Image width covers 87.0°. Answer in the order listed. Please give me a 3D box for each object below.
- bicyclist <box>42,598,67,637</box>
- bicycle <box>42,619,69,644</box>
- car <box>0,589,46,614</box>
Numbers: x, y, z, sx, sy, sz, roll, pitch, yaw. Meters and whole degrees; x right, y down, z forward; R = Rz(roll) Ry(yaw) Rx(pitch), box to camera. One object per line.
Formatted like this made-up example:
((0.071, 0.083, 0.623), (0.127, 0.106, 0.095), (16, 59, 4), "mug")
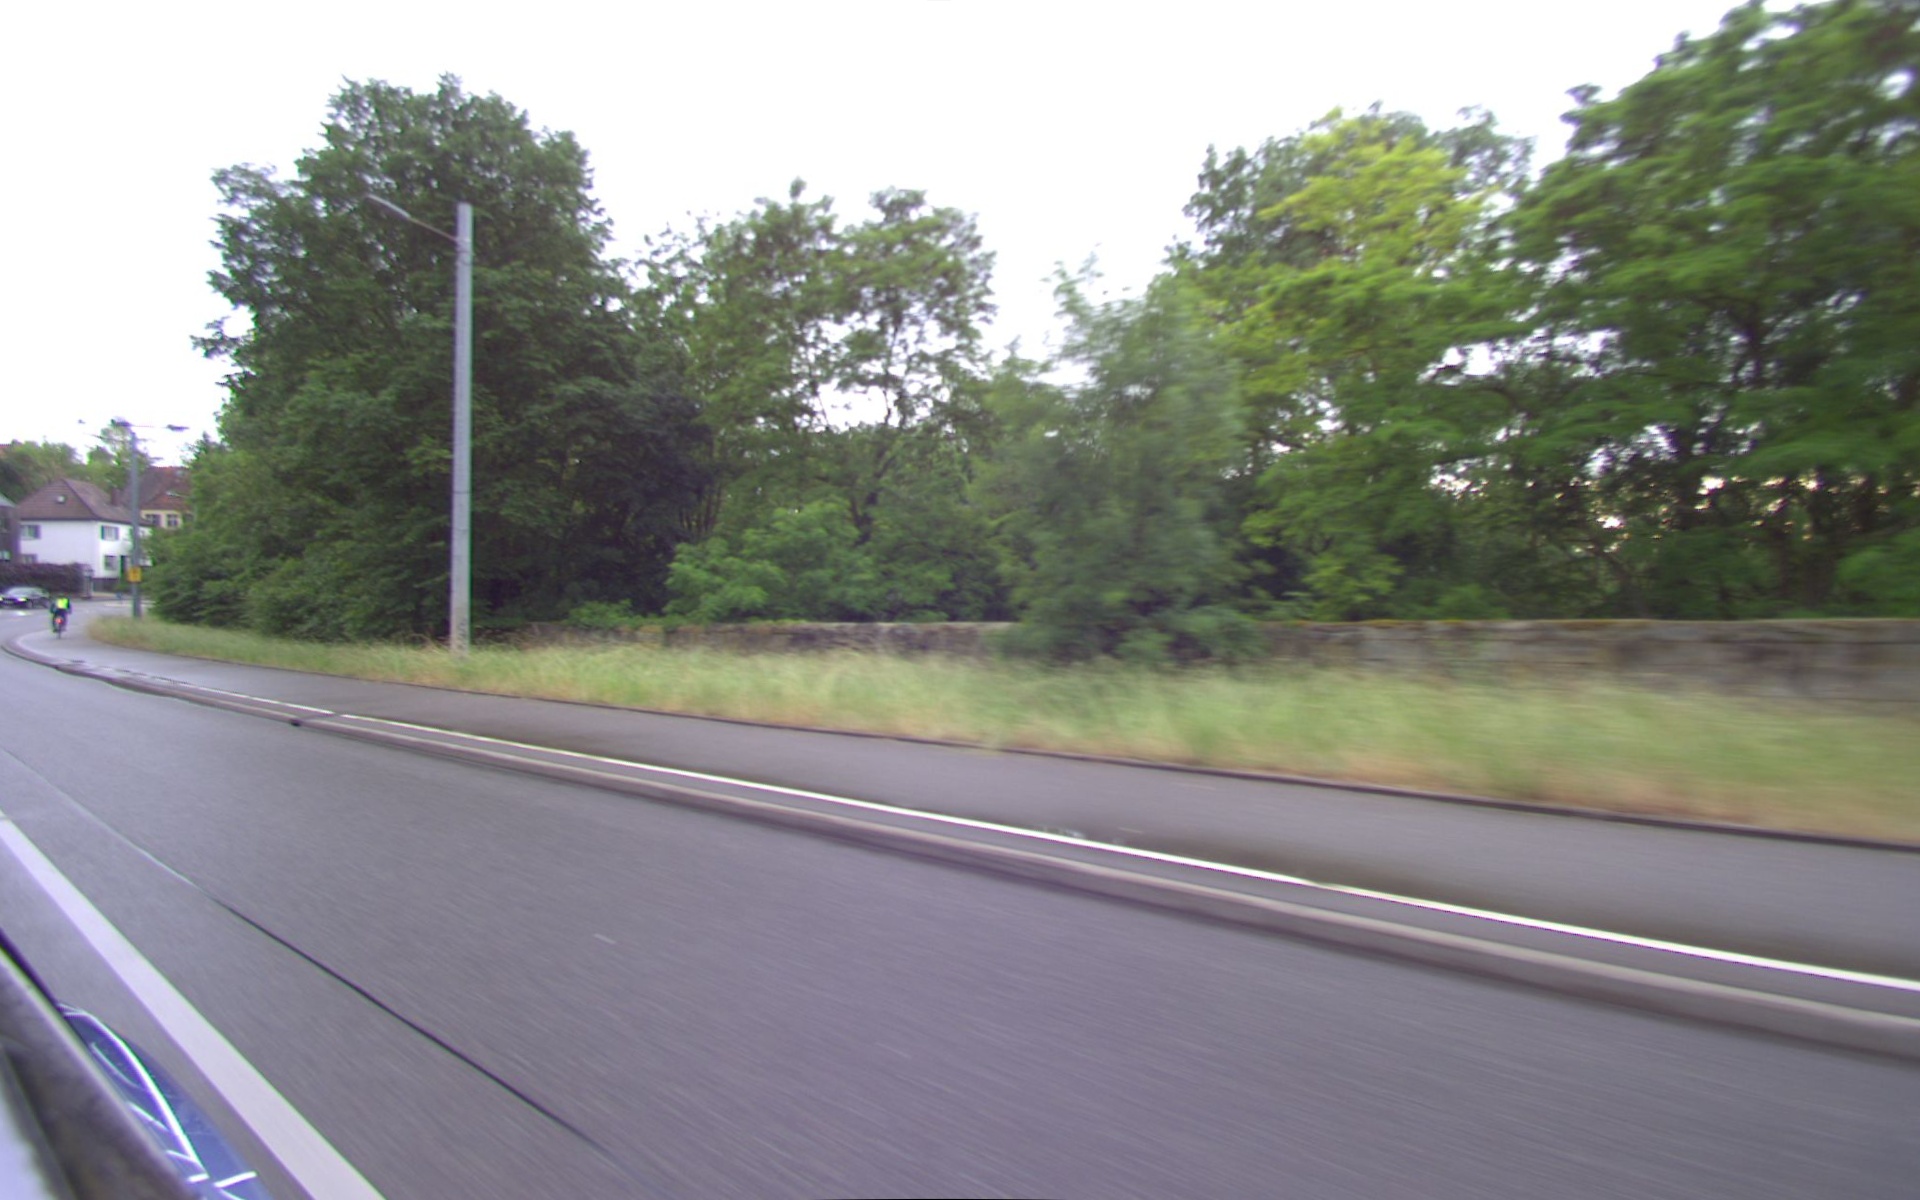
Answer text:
((-37.686, 0.709, 42.105), (0.700, 1.567, 1.172), (-2, 1, -44), "bicyclist")
((-37.530, 1.300, 41.986), (0.715, 0.949, 2.553), (-2, 1, -43), "bicycle")
((-66.753, 0.089, 71.684), (1.965, 1.730, 4.013), (0, 0, -26), "car")
